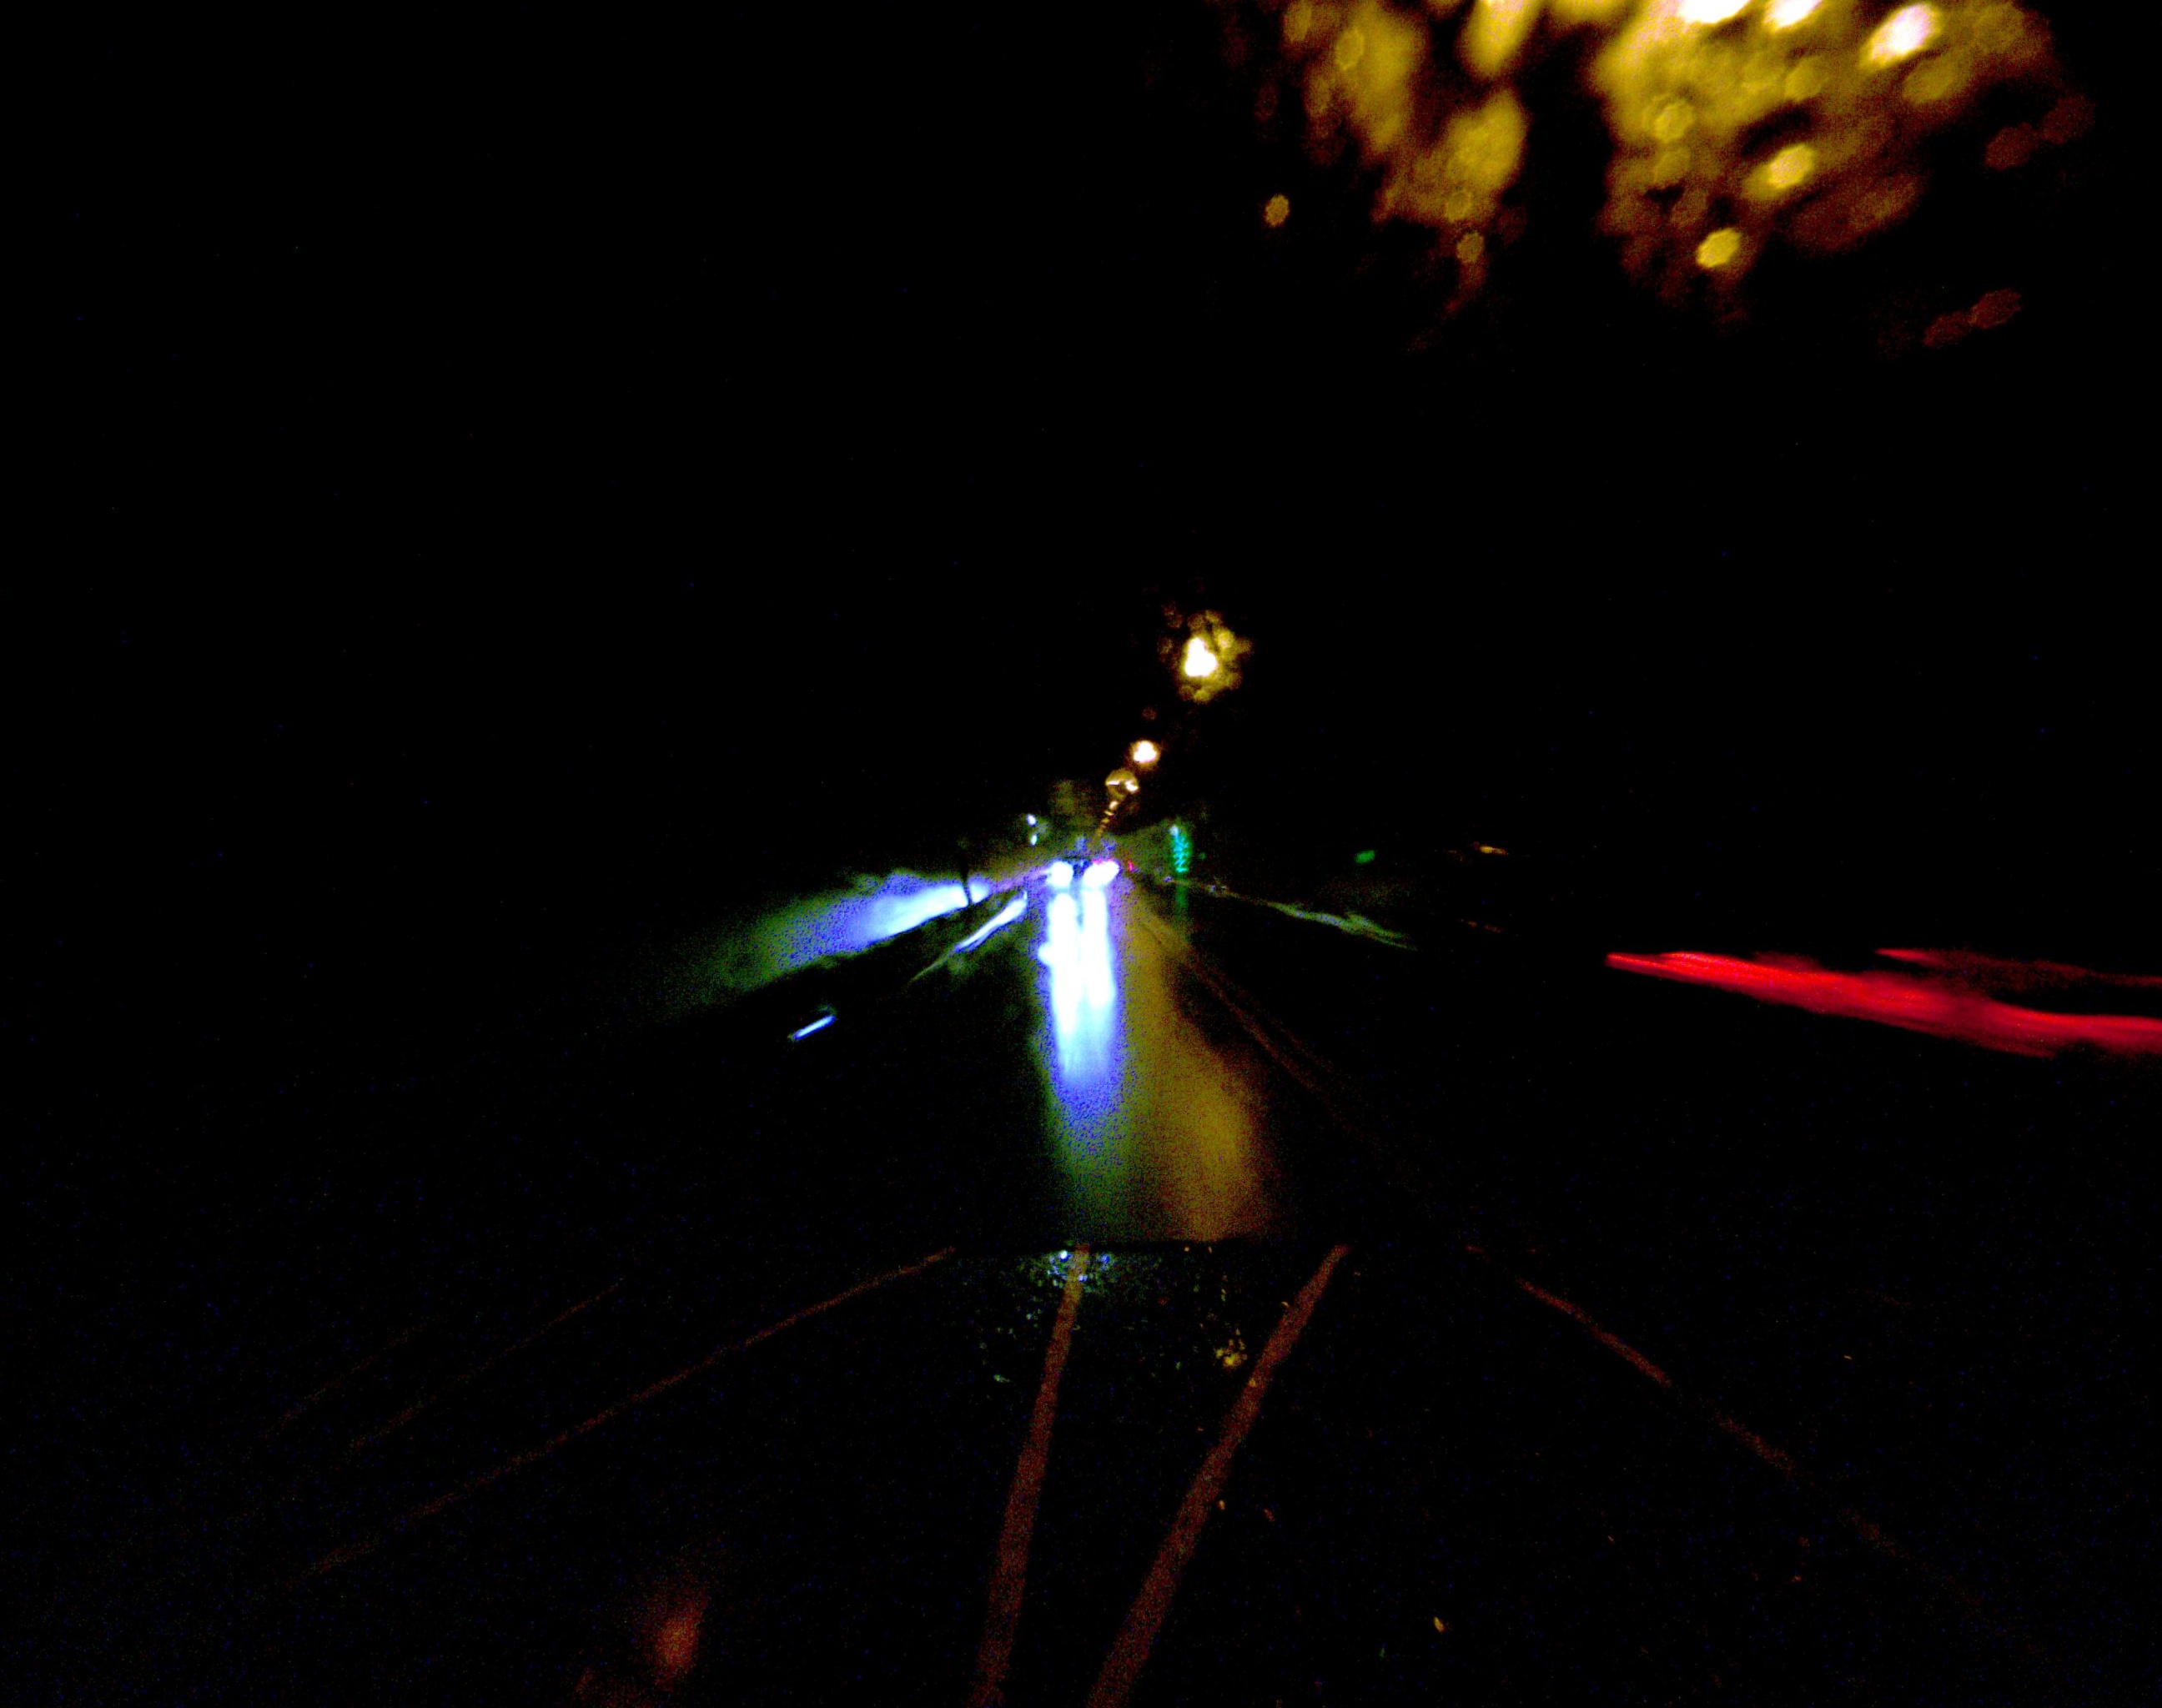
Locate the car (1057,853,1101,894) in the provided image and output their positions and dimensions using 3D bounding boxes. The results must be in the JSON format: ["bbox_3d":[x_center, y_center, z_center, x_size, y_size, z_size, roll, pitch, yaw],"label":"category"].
[{"bbox_3d":[-0.068,0.830,34.714,1.829,1.650,3.929,-3,1,1],"label":"car"}]

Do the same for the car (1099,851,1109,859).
[{"bbox_3d":[4.658,0.155,154.427,1.998,1.410,4.712,-3,1,1],"label":"car"}]

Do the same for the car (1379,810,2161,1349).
[{"bbox_3d":[3.299,0.671,4.329,1.602,1.604,3.995,-3,1,1],"label":"car"}]

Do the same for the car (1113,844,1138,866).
[{"bbox_3d":[4.215,0.069,73.102,2.090,2.002,4.559,-3,0,1],"label":"car"}]
